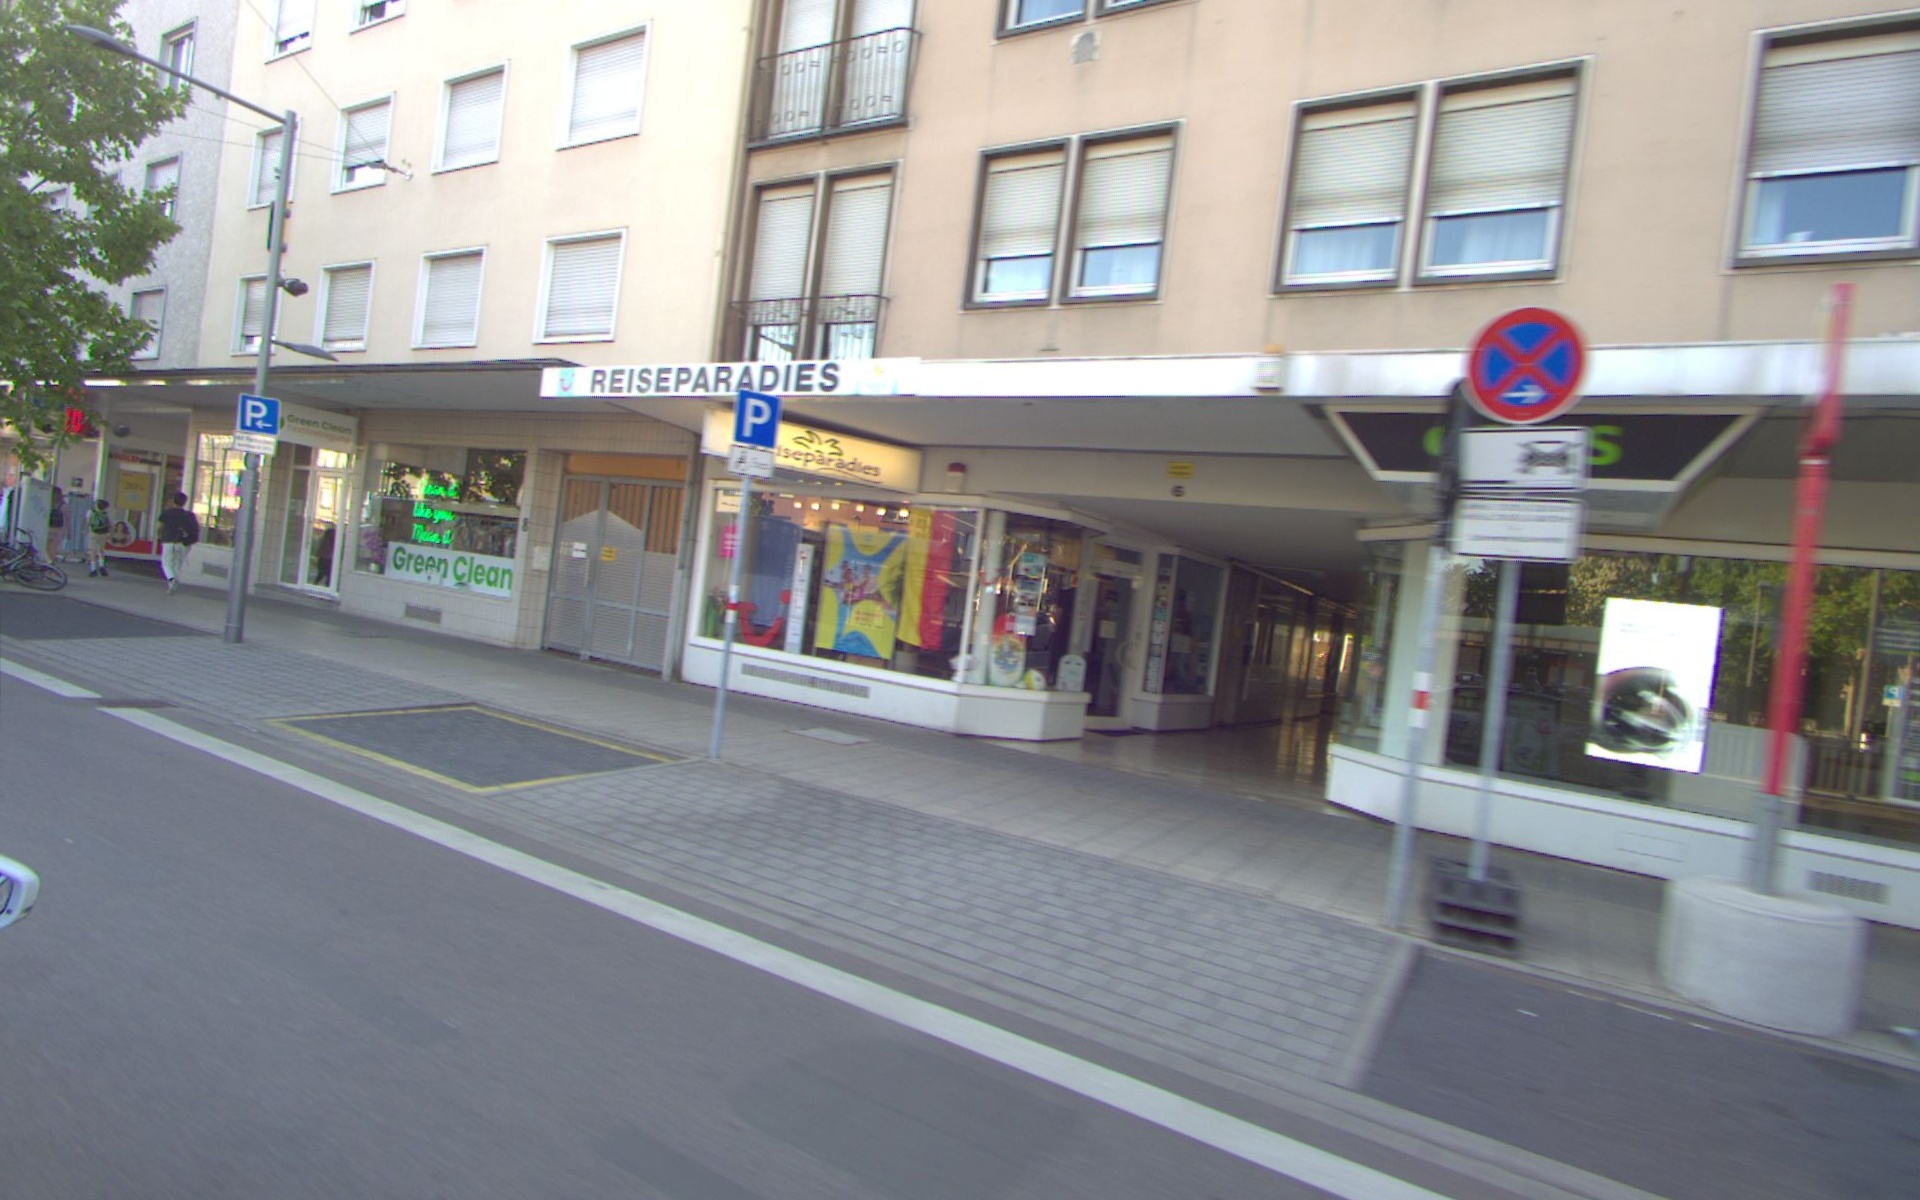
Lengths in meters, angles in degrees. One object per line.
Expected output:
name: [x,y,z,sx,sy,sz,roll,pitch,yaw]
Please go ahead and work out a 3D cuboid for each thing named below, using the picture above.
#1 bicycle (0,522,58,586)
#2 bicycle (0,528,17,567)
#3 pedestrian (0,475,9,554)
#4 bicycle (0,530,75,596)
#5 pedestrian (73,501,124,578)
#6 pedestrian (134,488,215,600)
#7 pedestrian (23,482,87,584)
bicycle: [-15.533,-0.744,16.142,0.641,0.954,1.695,-2,-1,-3]
bicycle: [-16.205,-0.739,15.791,0.927,0.636,1.786,-29,1,2]
pedestrian: [-18.413,-1.470,18.718,0.754,1.817,0.724,7,0,31]
bicycle: [-14.713,-0.580,15.249,0.780,0.955,1.783,6,3,27]
pedestrian: [-16.720,-1.172,19.526,0.601,1.411,0.475,6,0,31]
pedestrian: [-13.549,-0.959,17.358,0.754,1.817,0.724,7,0,31]
pedestrian: [-17.200,-1.273,19.120,0.754,1.817,0.565,7,0,31]
